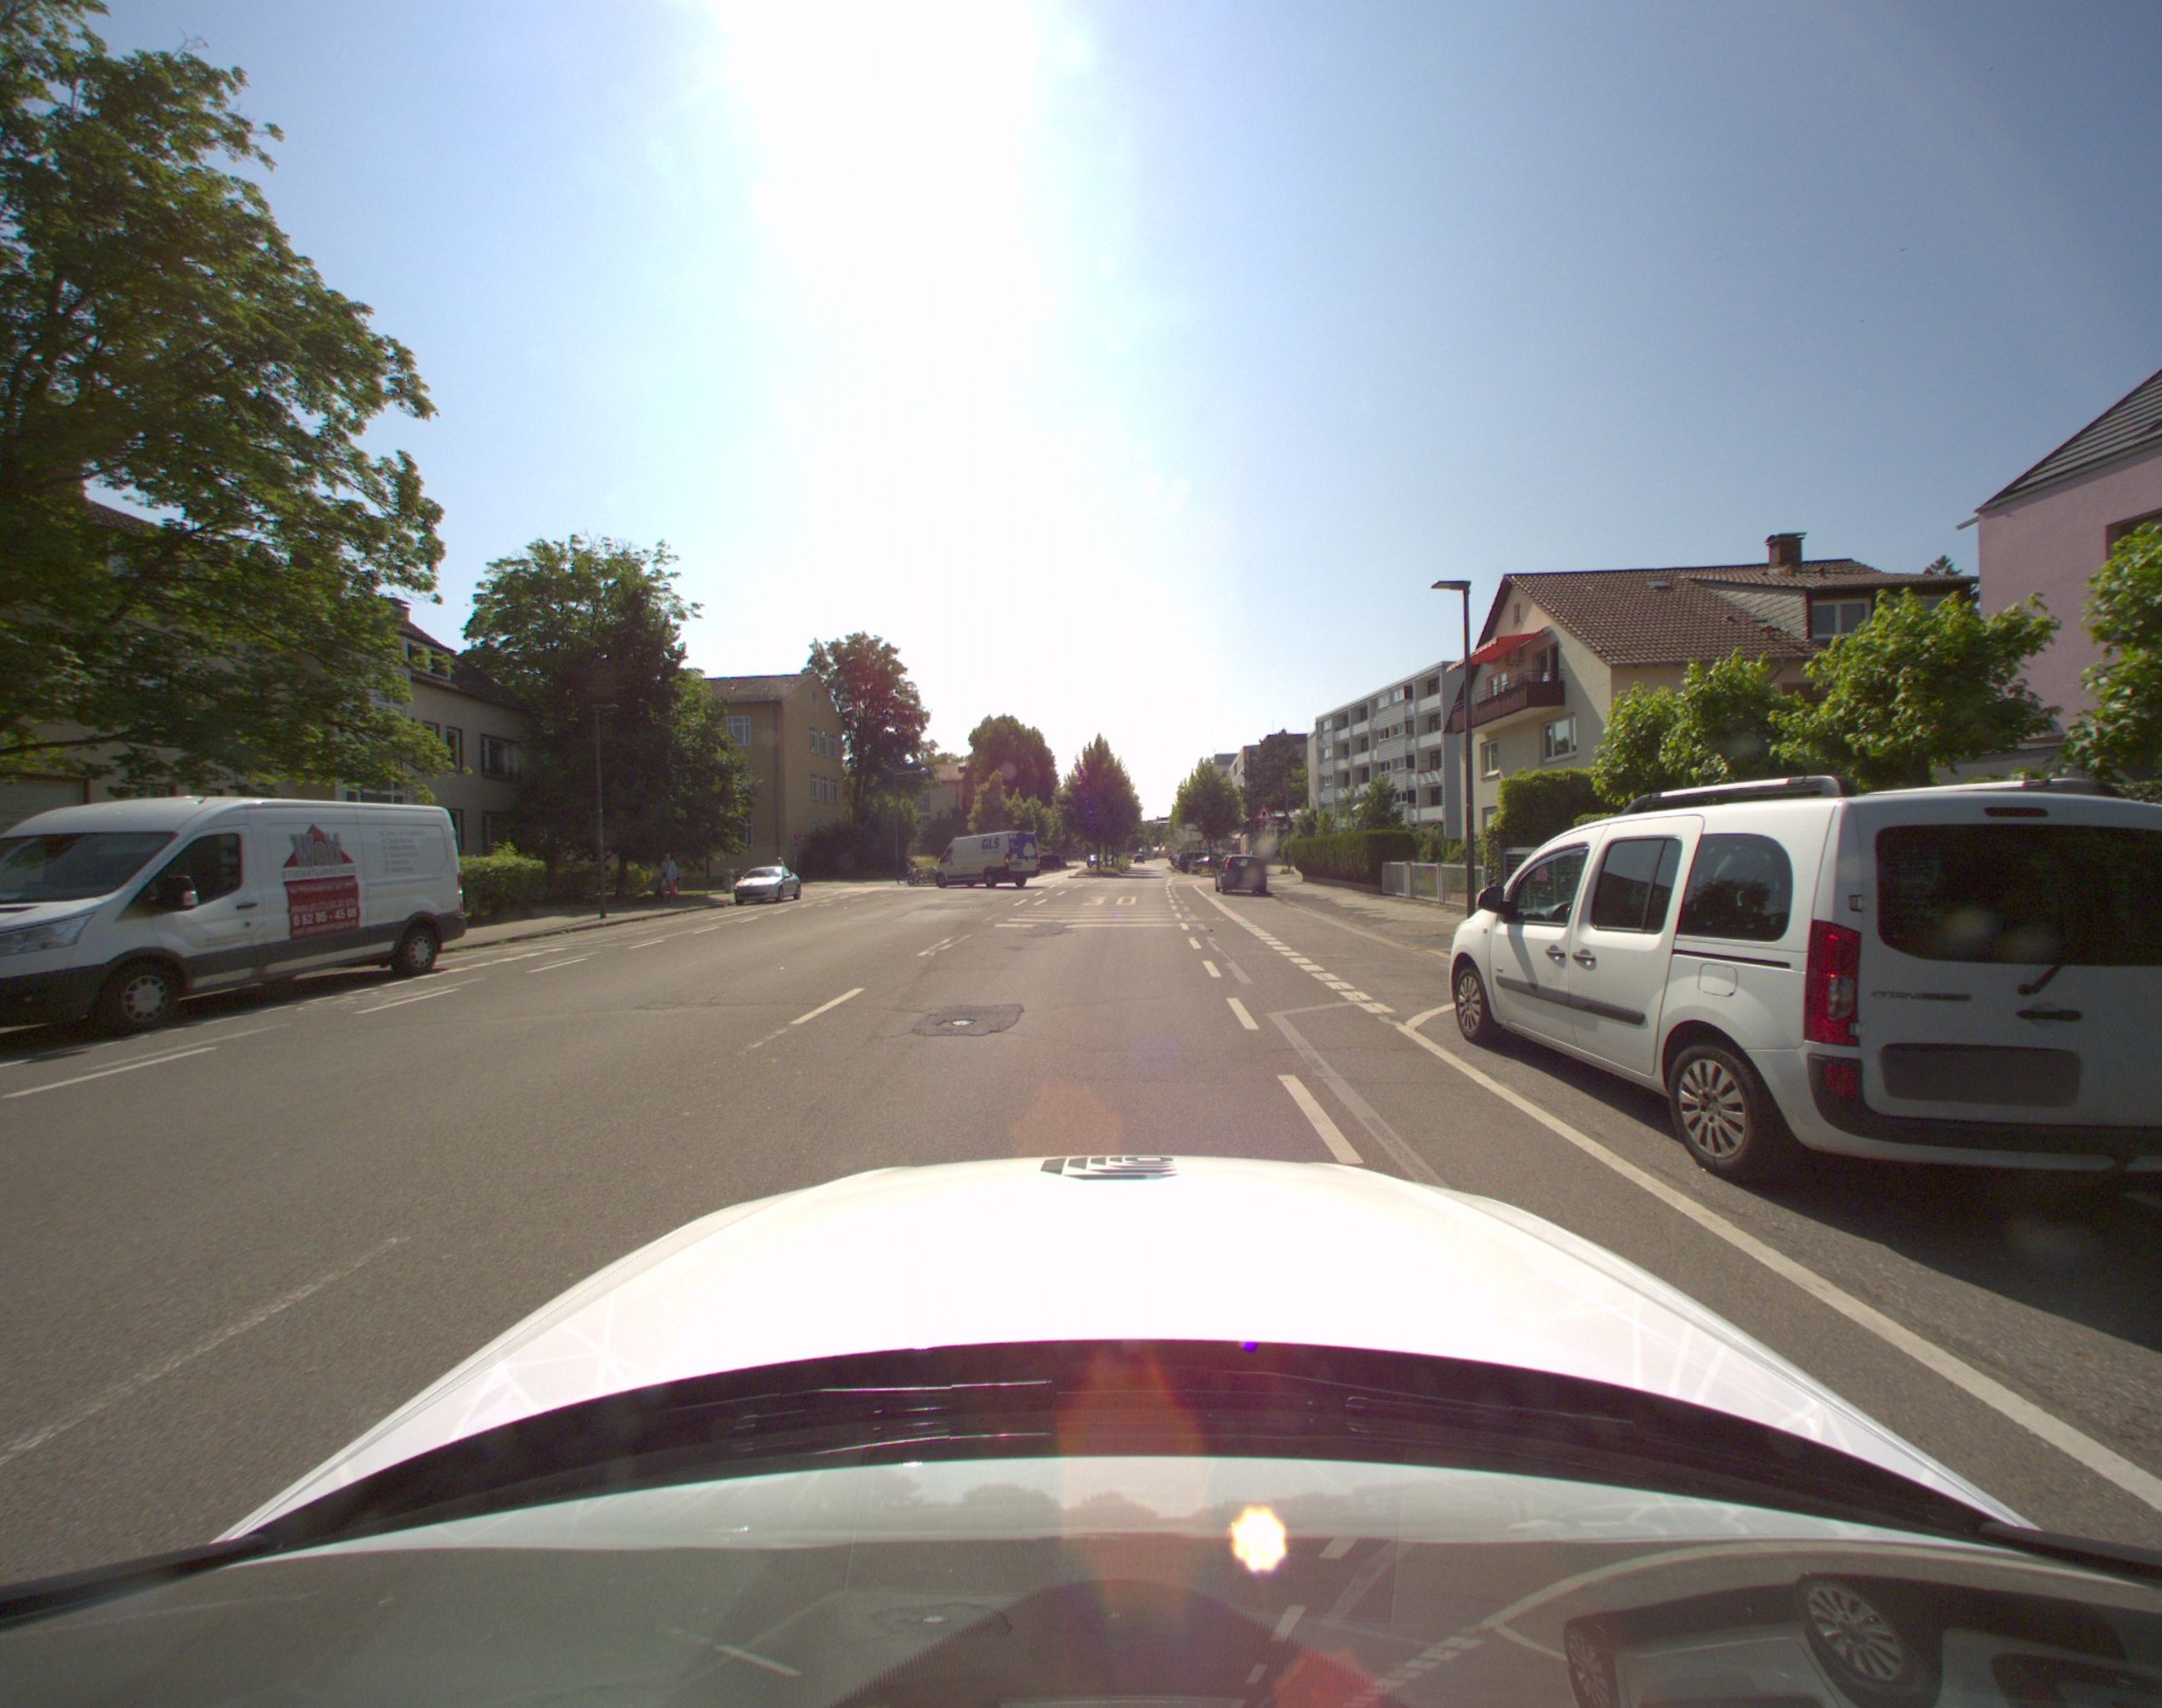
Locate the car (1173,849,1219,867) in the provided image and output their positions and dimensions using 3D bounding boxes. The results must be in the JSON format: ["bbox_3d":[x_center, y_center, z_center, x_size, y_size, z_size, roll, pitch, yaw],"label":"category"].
[{"bbox_3d":[10.762,0.379,76.401,3.984,1.640,1.748,-1,0,-8],"label":"car"}]

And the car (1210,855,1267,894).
[{"bbox_3d":[5.911,0.718,30.925,1.610,1.390,4.003,0,0,3],"label":"car"}]

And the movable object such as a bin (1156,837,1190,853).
[{"bbox_3d":[26.698,-2.550,236.283,9.625,4.550,3.170,-1,0,6],"label":"movable object such as a bin"}]

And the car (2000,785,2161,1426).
[{"bbox_3d":[3.472,0.628,0.188,1.755,1.593,4.316,-1,1,2],"label":"car"}]

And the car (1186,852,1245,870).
[{"bbox_3d":[9.951,0.502,60.221,4.002,1.236,1.740,-1,0,-21],"label":"car"}]

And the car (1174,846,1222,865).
[{"bbox_3d":[10.553,0.113,73.577,3.995,1.640,1.744,-1,1,-16],"label":"car"}]

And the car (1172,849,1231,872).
[{"bbox_3d":[9.324,0.498,63.135,4.131,1.640,2.025,-1,0,-29],"label":"car"}]

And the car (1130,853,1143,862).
[{"bbox_3d":[9.255,0.554,134.897,1.986,1.398,4.002,-1,0,2],"label":"car"}]

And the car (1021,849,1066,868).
[{"bbox_3d":[-3.843,0.433,83.423,4.204,1.816,1.984,-2,1,-33],"label":"car"}]

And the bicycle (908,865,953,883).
[{"bbox_3d":[-9.063,1.192,49.127,2.534,0.987,0.740,-2,0,2],"label":"bicycle"}]

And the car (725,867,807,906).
[{"bbox_3d":[-12.071,1.208,31.501,1.716,1.266,3.996,-2,1,-3],"label":"car"}]

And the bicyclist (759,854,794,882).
[{"bbox_3d":[-16.347,0.759,43.738,1.341,1.403,0.964,-2,0,14],"label":"bicyclist"}]

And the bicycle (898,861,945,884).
[{"bbox_3d":[-9.366,1.087,47.772,2.534,1.239,0.740,-2,0,2],"label":"bicycle"}]

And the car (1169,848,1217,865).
[{"bbox_3d":[11.334,0.242,82.497,4.759,1.660,1.736,-1,0,-29],"label":"car"}]

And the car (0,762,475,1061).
[{"bbox_3d":[-10.269,0.504,9.666,2.086,2.496,5.940,-2,1,-6],"label":"car"}]

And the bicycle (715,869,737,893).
[{"bbox_3d":[-16.969,1.272,38.911,0.380,1.081,1.695,-2,1,-44],"label":"bicycle"}]

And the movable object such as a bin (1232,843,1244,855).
[{"bbox_3d":[21.939,-0.669,113.825,1.302,1.592,1.396,-4,0,2],"label":"movable object such as a bin"}]

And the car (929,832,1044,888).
[{"bbox_3d":[-4.732,0.322,39.951,2.297,2.524,6.059,-2,0,-45],"label":"car"}]

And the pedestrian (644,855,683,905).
[{"bbox_3d":[-15.237,0.940,29.740,0.970,1.780,0.725,-1,0,1],"label":"pedestrian"}]

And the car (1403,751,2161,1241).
[{"bbox_3d":[3.829,0.552,5.362,1.755,1.827,4.600,1,-1,2],"label":"car"}]

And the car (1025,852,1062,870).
[{"bbox_3d":[-4.114,0.766,89.544,3.773,1.772,1.808,-1,0,-19],"label":"car"}]

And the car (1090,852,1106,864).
[{"bbox_3d":[2.398,0.544,113.925,1.733,1.547,4.080,-3,0,6],"label":"car"}]

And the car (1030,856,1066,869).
[{"bbox_3d":[-3.778,0.943,94.015,3.855,1.423,1.699,-1,0,-31],"label":"car"}]

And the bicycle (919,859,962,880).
[{"bbox_3d":[-8.842,0.967,51.357,2.534,1.256,0.740,-1,0,2],"label":"bicycle"}]

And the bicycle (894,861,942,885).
[{"bbox_3d":[-9.351,1.111,46.777,2.534,1.256,0.740,-2,0,2],"label":"bicycle"}]
